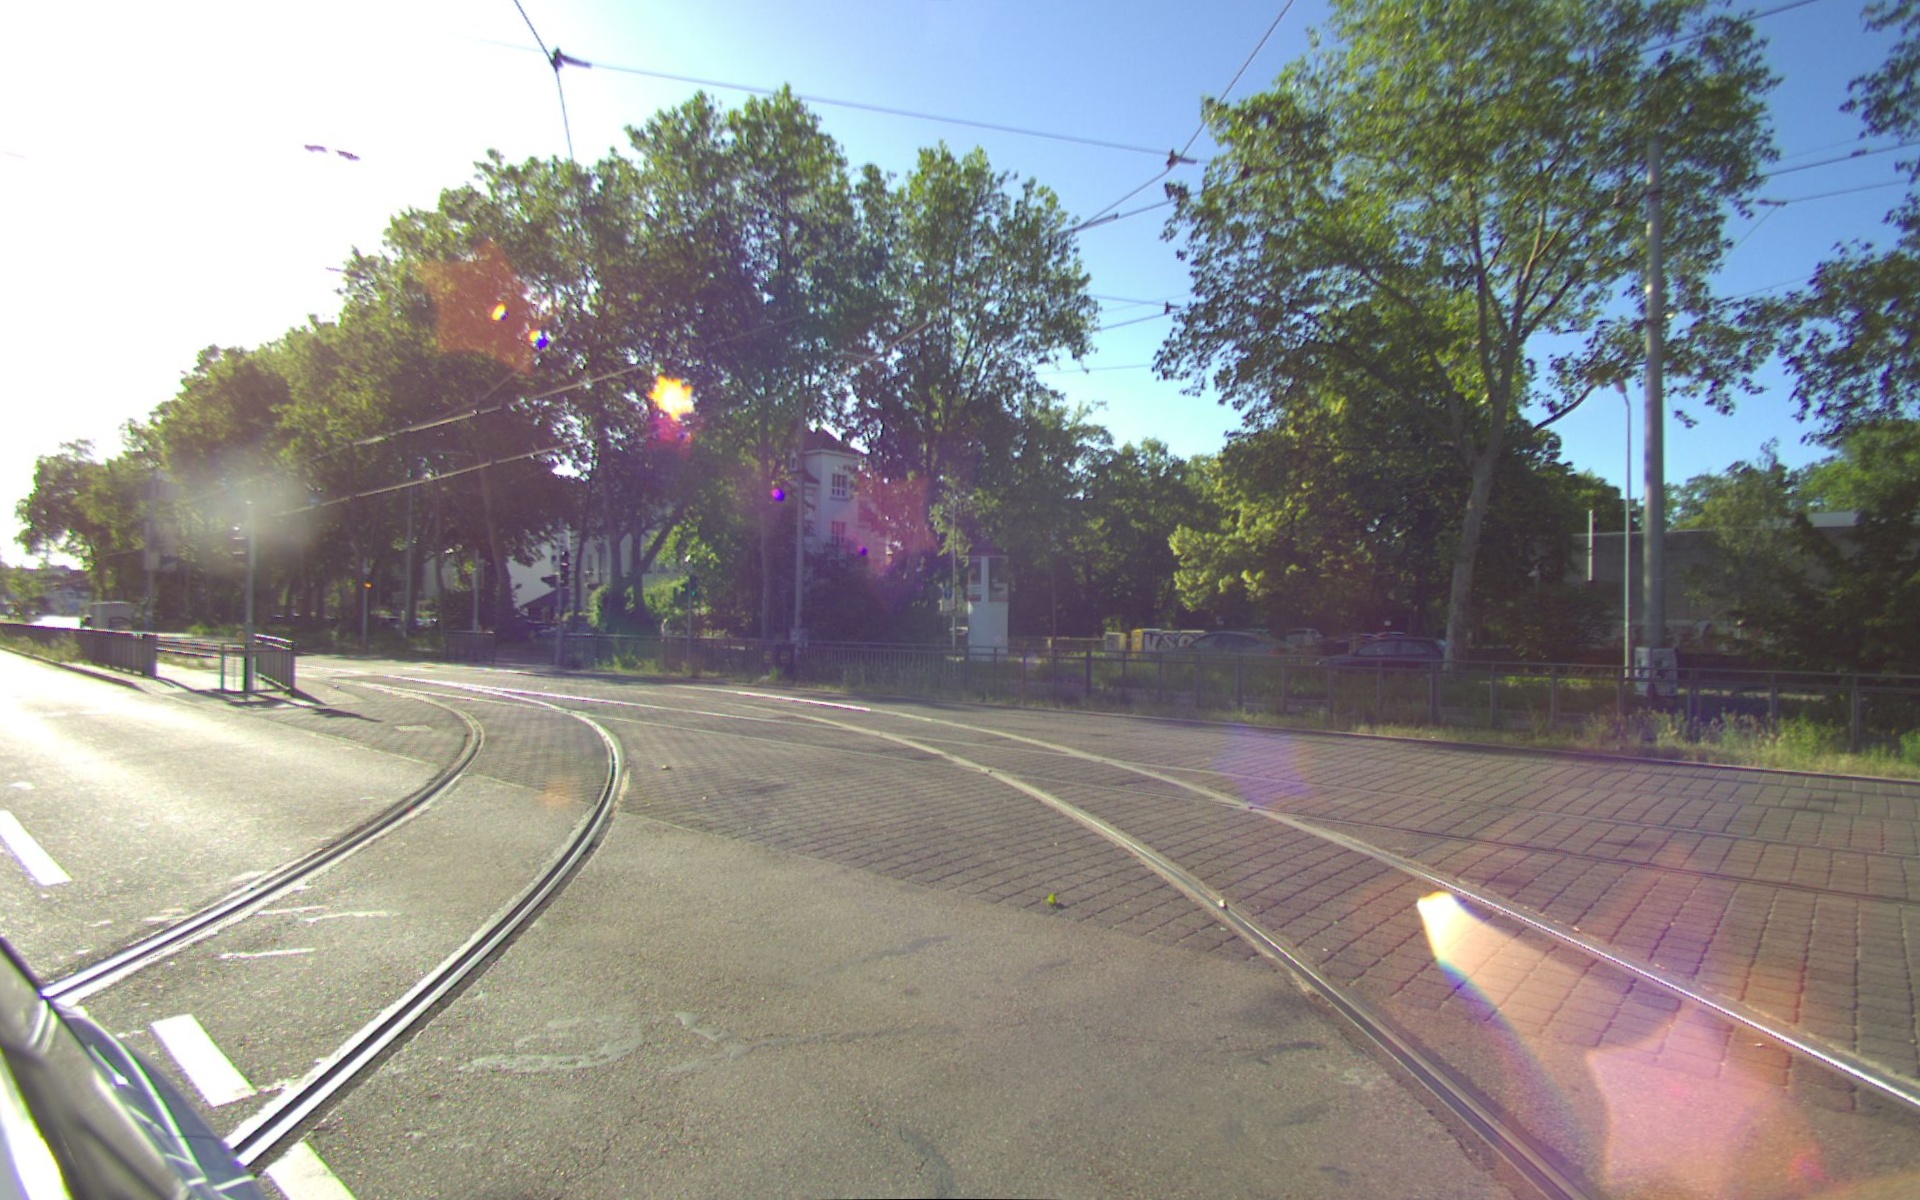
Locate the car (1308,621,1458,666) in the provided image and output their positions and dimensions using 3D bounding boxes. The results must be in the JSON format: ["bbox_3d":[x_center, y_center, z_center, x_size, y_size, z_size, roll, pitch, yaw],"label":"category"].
[{"bbox_3d":[11.273,1.118,27.087,3.405,1.037,1.464,-1,1,43],"label":"car"}]

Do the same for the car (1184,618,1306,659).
[{"bbox_3d":[8.351,1.110,29.805,3.129,1.057,1.484,-1,1,43],"label":"car"}]

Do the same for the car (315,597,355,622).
[{"bbox_3d":[-46.373,0.740,75.067,1.721,1.806,3.743,1,-2,-45],"label":"car"}]

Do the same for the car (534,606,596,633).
[{"bbox_3d":[-22.831,1.098,58.431,3.754,1.482,1.700,-1,1,40],"label":"car"}]

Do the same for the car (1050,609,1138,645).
[{"bbox_3d":[5.734,1.130,43.592,3.485,1.406,1.611,0,1,45],"label":"car"}]

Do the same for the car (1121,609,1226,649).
[{"bbox_3d":[8.541,1.117,40.606,3.740,1.482,1.723,-1,1,42],"label":"car"}]
